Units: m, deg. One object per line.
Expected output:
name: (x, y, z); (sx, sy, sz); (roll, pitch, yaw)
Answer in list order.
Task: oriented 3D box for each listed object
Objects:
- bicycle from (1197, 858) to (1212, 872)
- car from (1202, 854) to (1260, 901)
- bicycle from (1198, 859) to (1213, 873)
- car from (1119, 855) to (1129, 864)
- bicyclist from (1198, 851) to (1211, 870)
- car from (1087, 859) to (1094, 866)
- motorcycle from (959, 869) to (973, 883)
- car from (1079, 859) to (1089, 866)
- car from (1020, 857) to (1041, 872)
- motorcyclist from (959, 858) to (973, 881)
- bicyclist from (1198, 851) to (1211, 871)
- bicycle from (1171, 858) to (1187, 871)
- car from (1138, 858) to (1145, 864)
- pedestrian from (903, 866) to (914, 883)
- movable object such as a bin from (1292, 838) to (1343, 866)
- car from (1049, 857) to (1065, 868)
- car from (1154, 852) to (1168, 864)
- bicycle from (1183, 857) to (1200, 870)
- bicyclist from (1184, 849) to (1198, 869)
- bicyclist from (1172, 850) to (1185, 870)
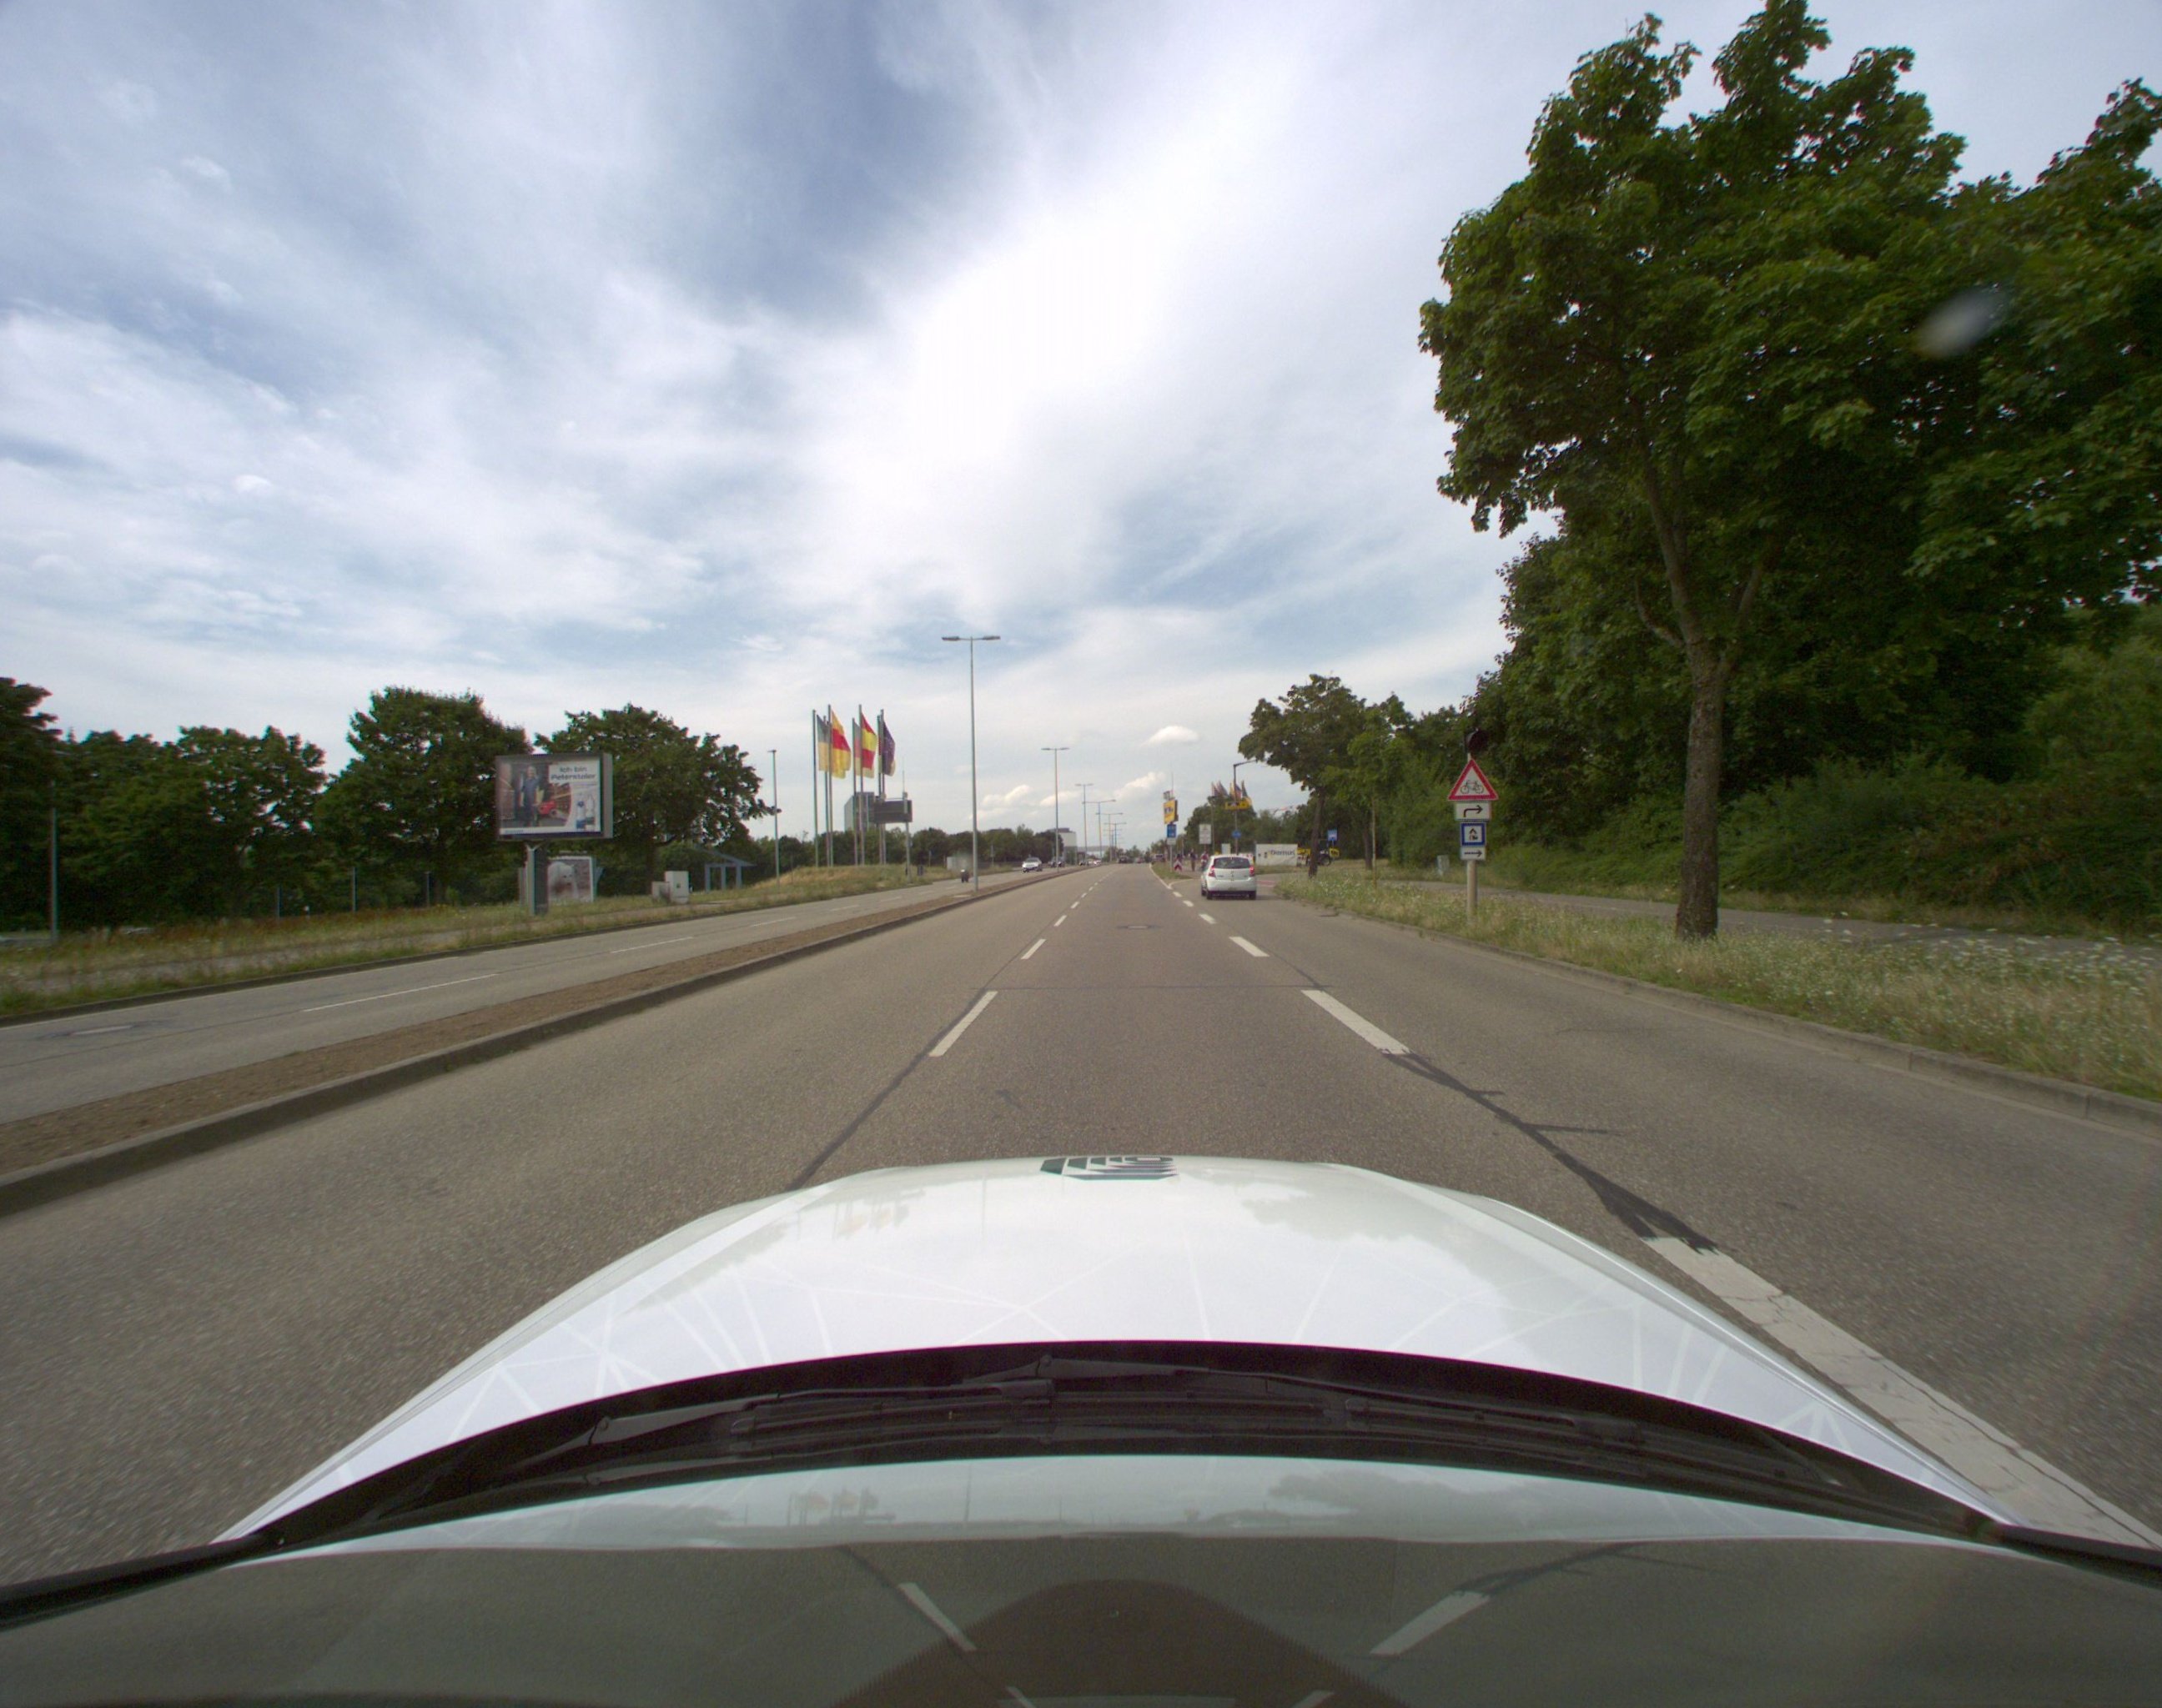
bicycle: (9.579, 0.836, 63.193); (0.620, 1.006, 1.781); (-3, -1, -10)
car: (5.276, 0.781, 29.042); (1.837, 1.502, 4.009); (-2, 0, 8)
bicycle: (9.185, 0.873, 60.229); (0.619, 1.006, 1.784); (-4, -1, -5)
car: (8.620, 1.158, 163.249); (1.722, 1.653, 4.120); (-1, -2, 5)
bicyclist: (9.592, 0.513, 63.194); (0.741, 1.487, 0.955); (0, -1, -10)
car: (2.299, 2.014, 198.556); (1.542, 1.578, 3.695); (-3, 0, 4)
motorcycle: (-8.316, 1.564, 59.025); (0.520, 0.967, 2.221); (-2, 0, 3)
car: (0.726, 1.788, 174.467); (1.755, 1.441, 4.182); (-3, 0, 4)
car: (-5.855, 1.206, 94.687); (1.839, 1.601, 4.565); (-2, 0, 3)
motorcyclist: (-8.327, 1.139, 59.031); (0.767, 1.588, 0.897); (-3, 0, 2)
bicyclist: (9.149, 0.519, 60.253); (0.739, 1.474, 0.804); (0, -1, -5)
bicycle: (7.526, 0.803, 62.627); (0.620, 1.006, 2.095); (1, 0, -10)
car: (14.739, 1.662, 197.965); (1.723, 1.526, 4.118); (-1, -1, 3)
pedestrian: (-17.084, 2.029, 80.575); (0.862, 1.693, 0.679); (-3, 0, 2)
movable object such as a bin: (22.903, -0.162, 79.134); (4.476, 2.689, 2.106); (-1, -1, 8)
car: (-4.147, 1.463, 142.047); (1.838, 1.894, 5.513); (-4, -1, 5)
car: (12.091, 0.662, 123.549); (1.725, 1.653, 4.113); (-1, -2, 0)
bicycle: (8.553, 0.731, 63.072); (0.595, 1.037, 2.187); (1, -1, -10)
bicyclist: (8.534, 0.409, 63.138); (0.741, 1.518, 0.954); (0, -1, -12)
bicyclist: (7.523, 0.449, 62.679); (0.741, 1.518, 0.955); (0, -1, -11)
